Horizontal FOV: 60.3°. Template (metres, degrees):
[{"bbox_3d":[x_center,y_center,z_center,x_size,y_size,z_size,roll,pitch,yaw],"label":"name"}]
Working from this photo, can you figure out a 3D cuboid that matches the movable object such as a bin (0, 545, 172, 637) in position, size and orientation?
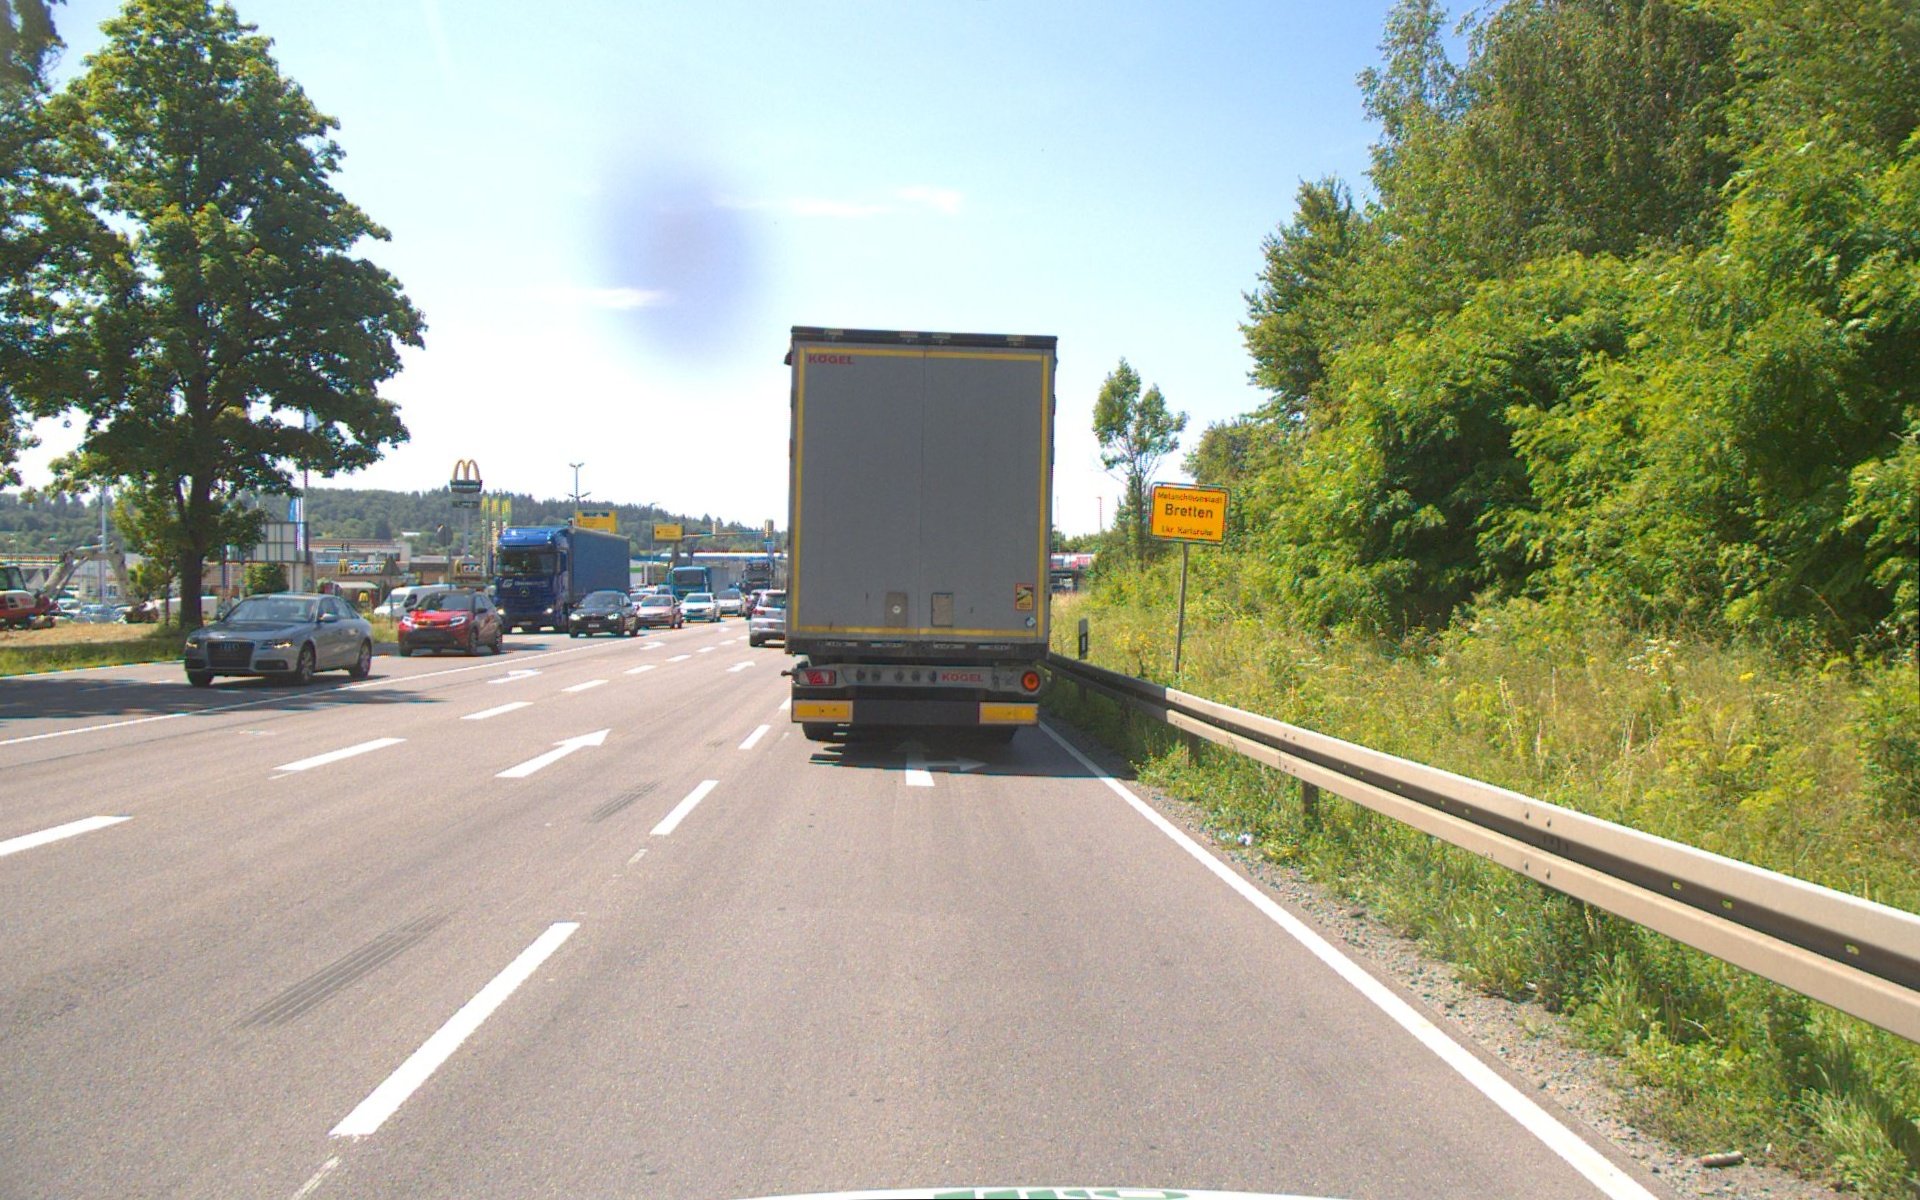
[{"bbox_3d":[-34.488,-0.352,63.897,2.994,3.356,6.760,0,0,38],"label":"movable object such as a bin"}]

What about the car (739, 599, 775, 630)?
[{"bbox_3d":[-11.190,0.779,91.433,1.758,1.656,4.366,0,0,-4],"label":"car"}]

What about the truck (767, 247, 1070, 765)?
[{"bbox_3d":[-0.509,-0.900,23.605,2.700,4.720,16.652,1,0,-1],"label":"truck"}]

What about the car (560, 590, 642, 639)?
[{"bbox_3d":[-12.245,0.495,56.695,1.880,1.506,4.684,-3,0,-2],"label":"car"}]

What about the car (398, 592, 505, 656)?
[{"bbox_3d":[-12.327,0.553,40.312,1.609,1.463,4.013,0,0,-4],"label":"car"}]

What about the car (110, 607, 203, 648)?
[{"bbox_3d":[-34.673,1.164,71.374,3.919,1.680,1.993,0,0,36],"label":"car"}]

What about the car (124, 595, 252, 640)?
[{"bbox_3d":[-36.282,0.795,77.852,1.961,2.049,5.197,0,0,37],"label":"car"}]

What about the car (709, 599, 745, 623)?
[{"bbox_3d":[-14.227,0.661,101.062,1.726,1.453,4.178,0,0,-2],"label":"car"}]

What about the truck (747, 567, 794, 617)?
[{"bbox_3d":[-17.765,-0.677,156.229,3.083,4.425,17.533,0,0,-2],"label":"truck"}]

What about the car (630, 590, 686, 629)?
[{"bbox_3d":[-12.715,0.390,69.851,1.732,1.471,3.773,-4,0,-2],"label":"car"}]

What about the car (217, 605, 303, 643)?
[{"bbox_3d":[-32.015,1.093,75.610,3.919,1.646,1.833,0,0,36],"label":"car"}]

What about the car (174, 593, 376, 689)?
[{"bbox_3d":[-11.030,0.652,26.917,1.731,1.411,3.998,1,-1,-3],"label":"car"}]

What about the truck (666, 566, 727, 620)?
[{"bbox_3d":[-17.654,-0.435,111.424,2.789,3.410,11.475,0,0,-3],"label":"truck"}]

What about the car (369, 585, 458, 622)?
[{"bbox_3d":[-33.657,0.211,102.060,1.958,2.221,5.180,0,0,32],"label":"car"}]

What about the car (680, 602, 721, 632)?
[{"bbox_3d":[-13.249,0.853,84.626,1.666,1.439,4.559,0,0,-4],"label":"car"}]

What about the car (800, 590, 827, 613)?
[{"bbox_3d":[-14.184,0.150,160.751,2.441,2.049,5.524,1,-1,-4],"label":"car"}]

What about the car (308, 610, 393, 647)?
[{"bbox_3d":[-28.367,1.304,76.991,3.919,1.646,1.833,0,0,36],"label":"car"}]

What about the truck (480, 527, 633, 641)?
[{"bbox_3d":[-16.614,-0.587,69.675,2.908,4.250,16.567,0,0,-2],"label":"truck"}]

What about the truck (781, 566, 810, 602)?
[{"bbox_3d":[-19.266,-1.830,194.416,2.876,4.019,14.226,0,0,-4],"label":"truck"}]

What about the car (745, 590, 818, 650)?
[{"bbox_3d":[-5.374,0.590,50.184,1.768,1.699,4.291,1,0,-1],"label":"car"}]
